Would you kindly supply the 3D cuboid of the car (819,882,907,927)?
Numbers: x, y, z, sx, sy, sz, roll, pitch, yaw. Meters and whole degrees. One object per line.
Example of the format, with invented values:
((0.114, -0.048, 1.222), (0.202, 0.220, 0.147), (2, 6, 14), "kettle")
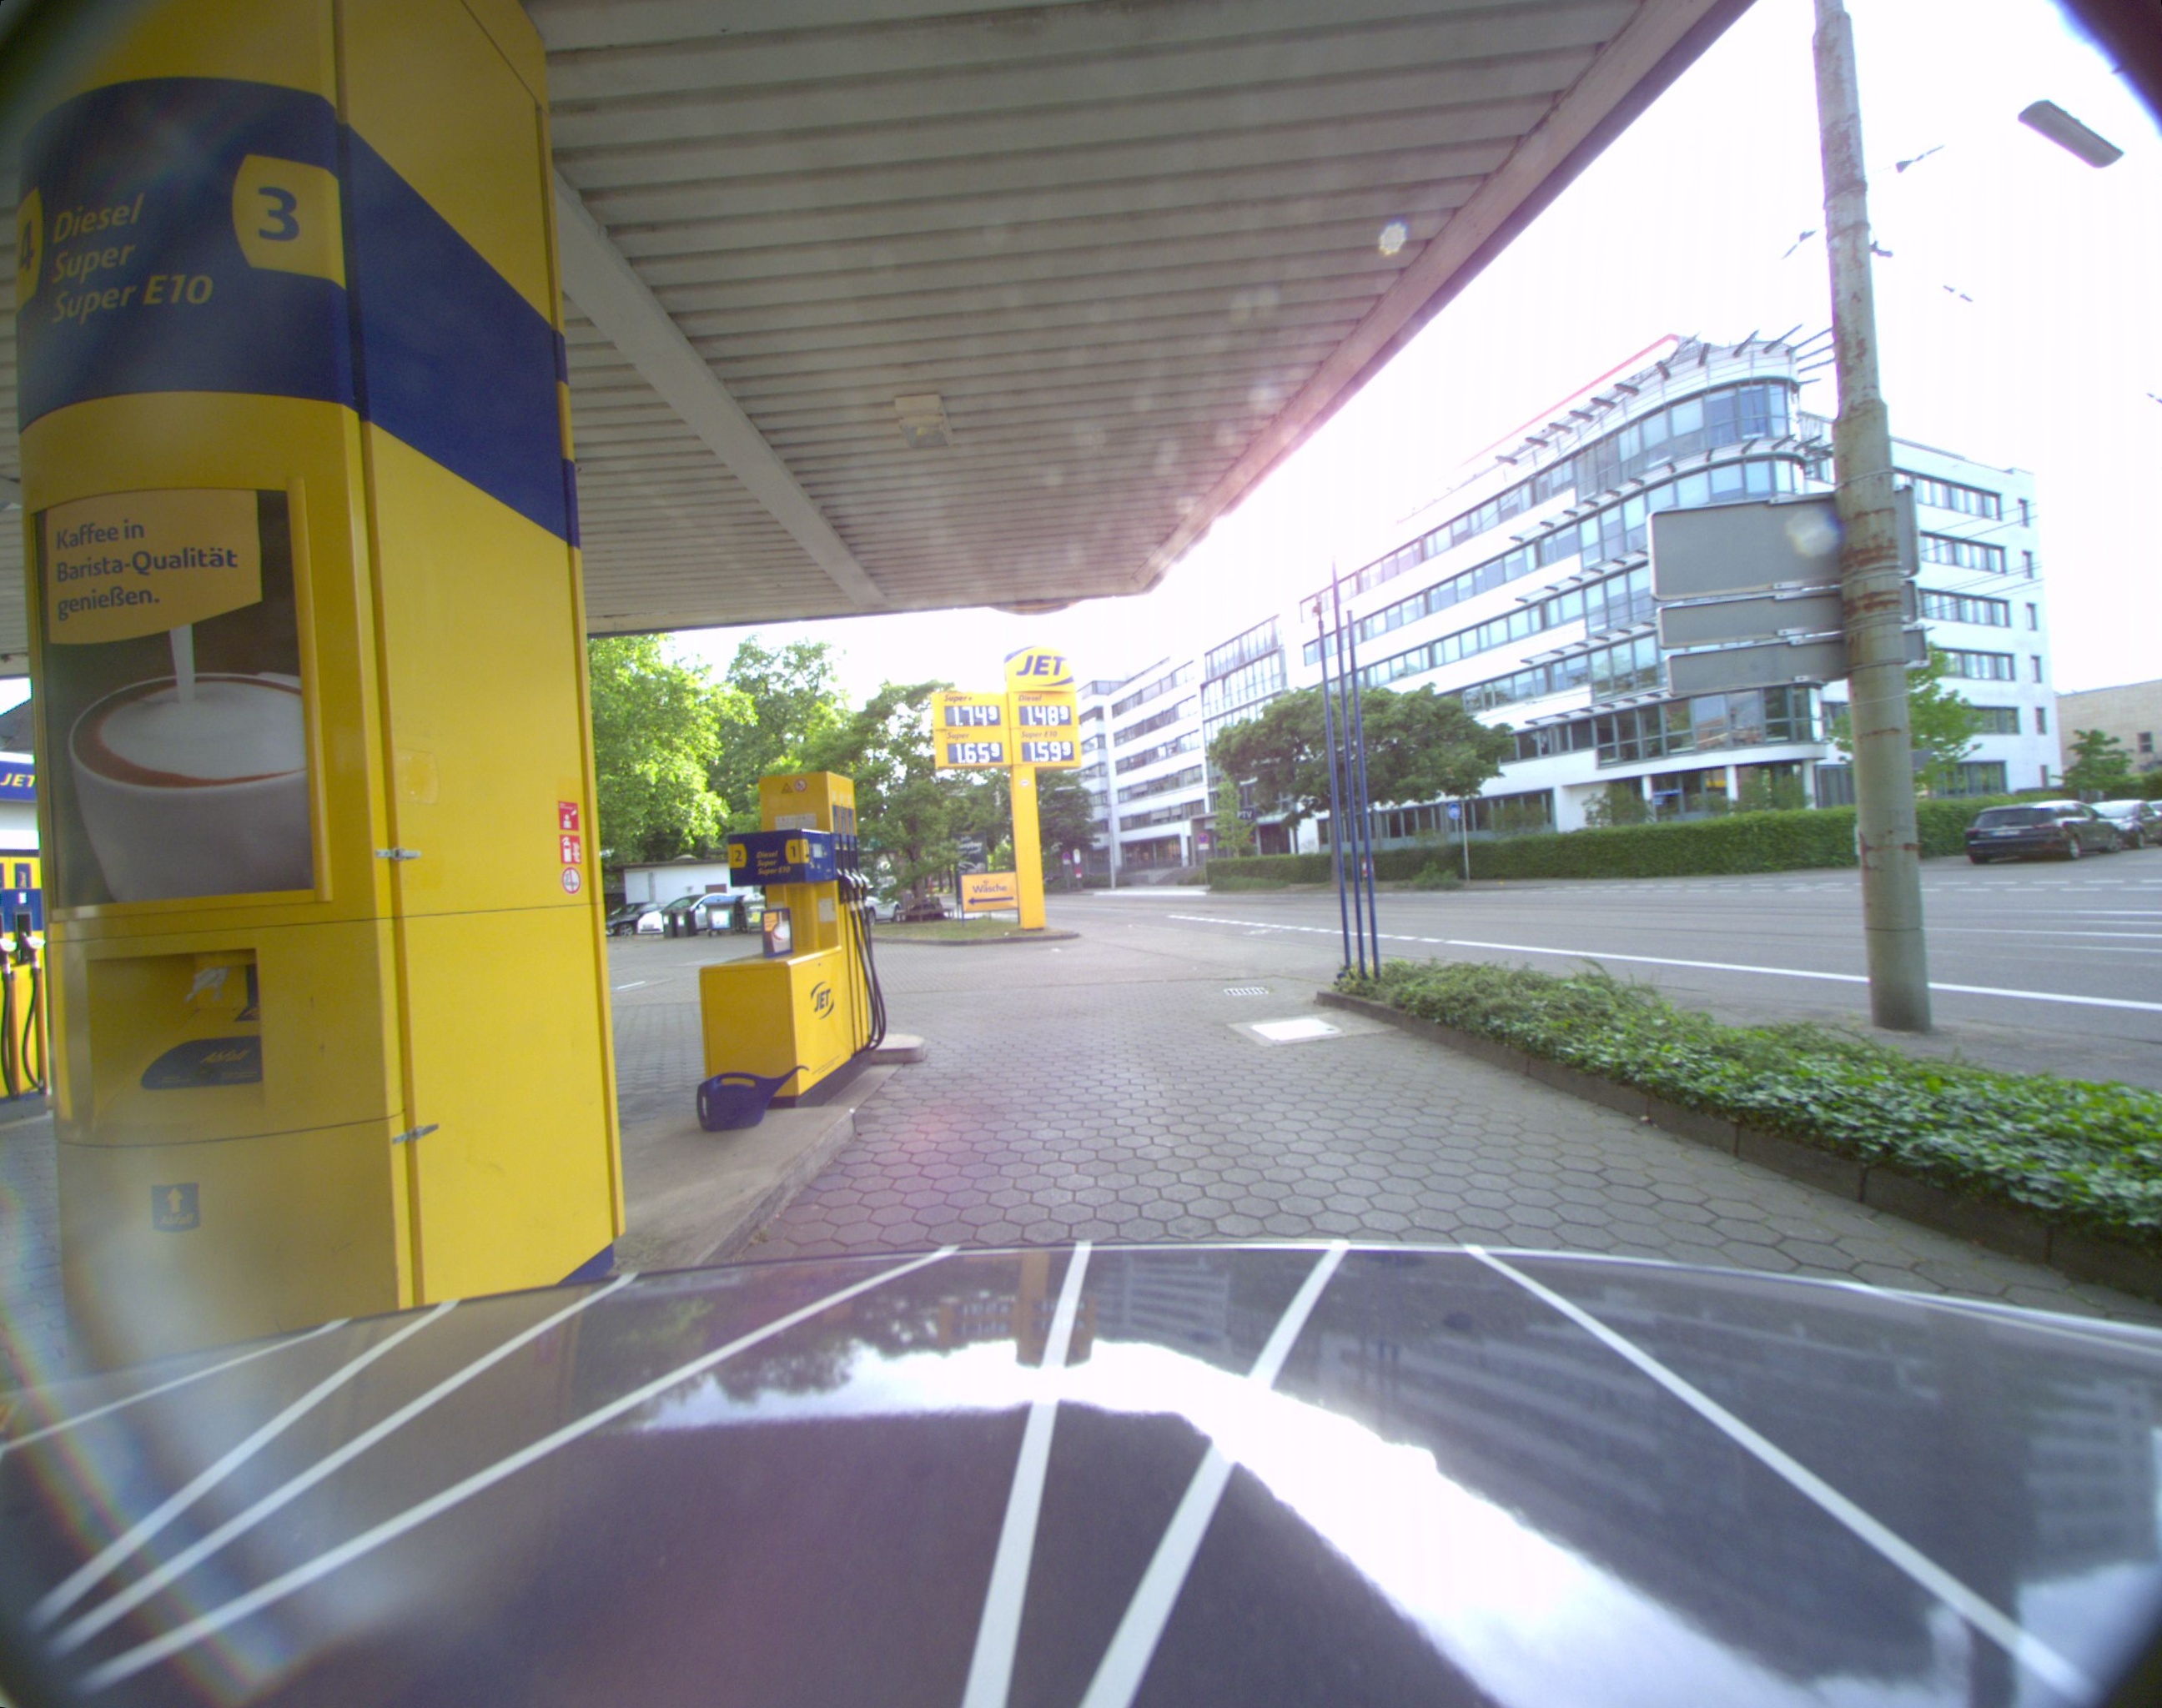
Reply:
((-8.633, 2.012, 30.502), (1.772, 1.591, 4.398), (-4, -4, 6), "car")

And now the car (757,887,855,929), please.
((-11.651, 2.278, 32.492), (1.771, 1.591, 4.400), (-4, -4, 13), "car")

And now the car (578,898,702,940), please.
((-17.791, 2.603, 30.906), (1.771, 1.367, 4.398), (-2, -1, 14), "car")

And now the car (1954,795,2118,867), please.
((27.278, -0.661, 21.696), (4.296, 1.681, 2.010), (-4, -1, -27), "car")

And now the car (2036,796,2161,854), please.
((32.549, -0.939, 24.099), (4.296, 1.530, 1.945), (-4, -1, -27), "car")

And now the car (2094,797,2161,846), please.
((37.131, -1.196, 26.152), (4.296, 1.509, 1.945), (-4, -1, -27), "car")

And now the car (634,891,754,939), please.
((-15.289, 2.377, 30.313), (1.771, 1.591, 4.398), (-2, -1, 14), "car")
